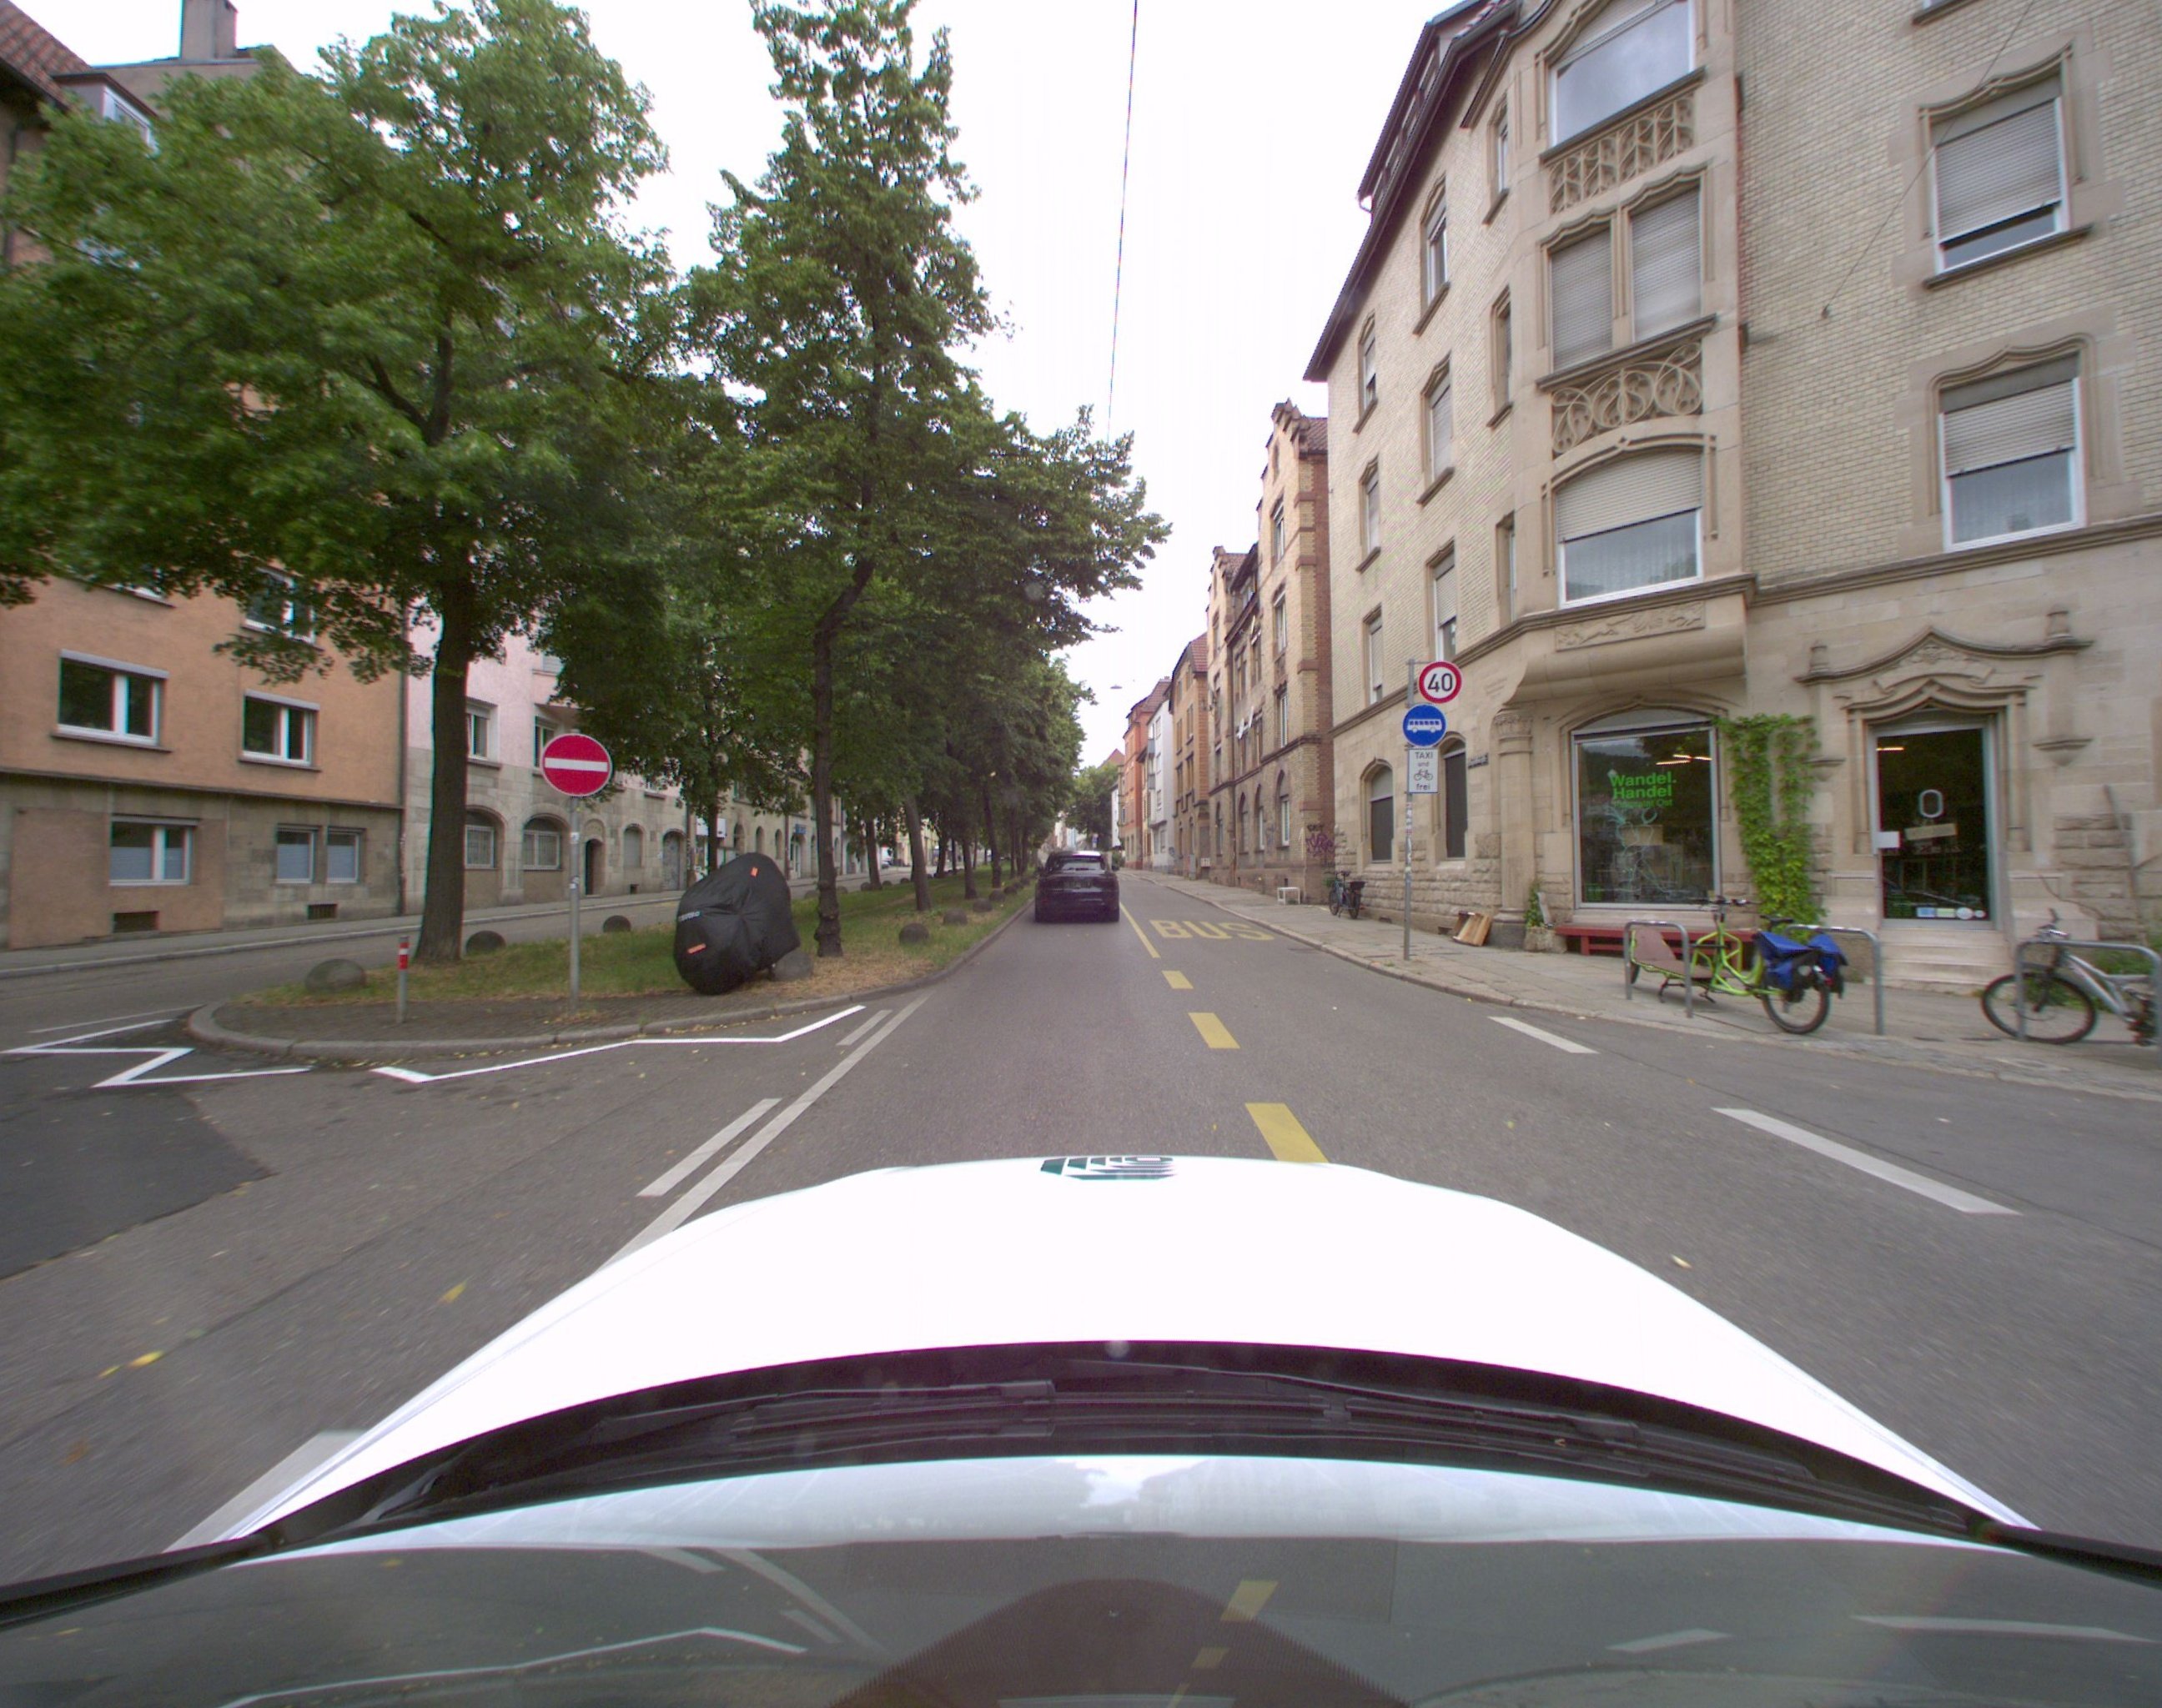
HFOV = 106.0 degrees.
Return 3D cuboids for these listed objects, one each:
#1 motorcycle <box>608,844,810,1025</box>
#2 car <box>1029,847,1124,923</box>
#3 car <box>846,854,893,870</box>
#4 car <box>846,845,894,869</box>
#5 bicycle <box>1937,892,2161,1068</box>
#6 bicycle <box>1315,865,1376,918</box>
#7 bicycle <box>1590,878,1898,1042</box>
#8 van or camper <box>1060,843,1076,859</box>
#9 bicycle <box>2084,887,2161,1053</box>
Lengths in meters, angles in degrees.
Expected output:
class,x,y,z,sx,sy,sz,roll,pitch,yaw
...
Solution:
class,x,y,z,sx,sy,sz,roll,pitch,yaw
motorcycle,-3.742,0.703,8.555,0.820,1.530,2.625,0,3,2
car,-0.225,0.699,20.188,1.901,1.666,4.126,0,-1,-7
car,-22.029,0.852,84.987,4.278,1.420,2.046,2,0,-3
car,-24.198,0.341,93.491,5.178,2.736,2.167,1,-1,-13
bicycle,8.143,0.959,6.393,0.679,1.149,2.059,1,1,1
bicycle,6.184,0.844,19.191,0.679,1.149,2.484,0,-1,1
bicycle,6.212,0.892,7.978,0.679,1.149,2.941,0,1,1
van or camper,-2.373,-0.464,147.444,2.476,2.803,7.226,0,-1,-4
bicycle,8.721,0.930,5.728,0.457,1.276,2.387,0,0,2
